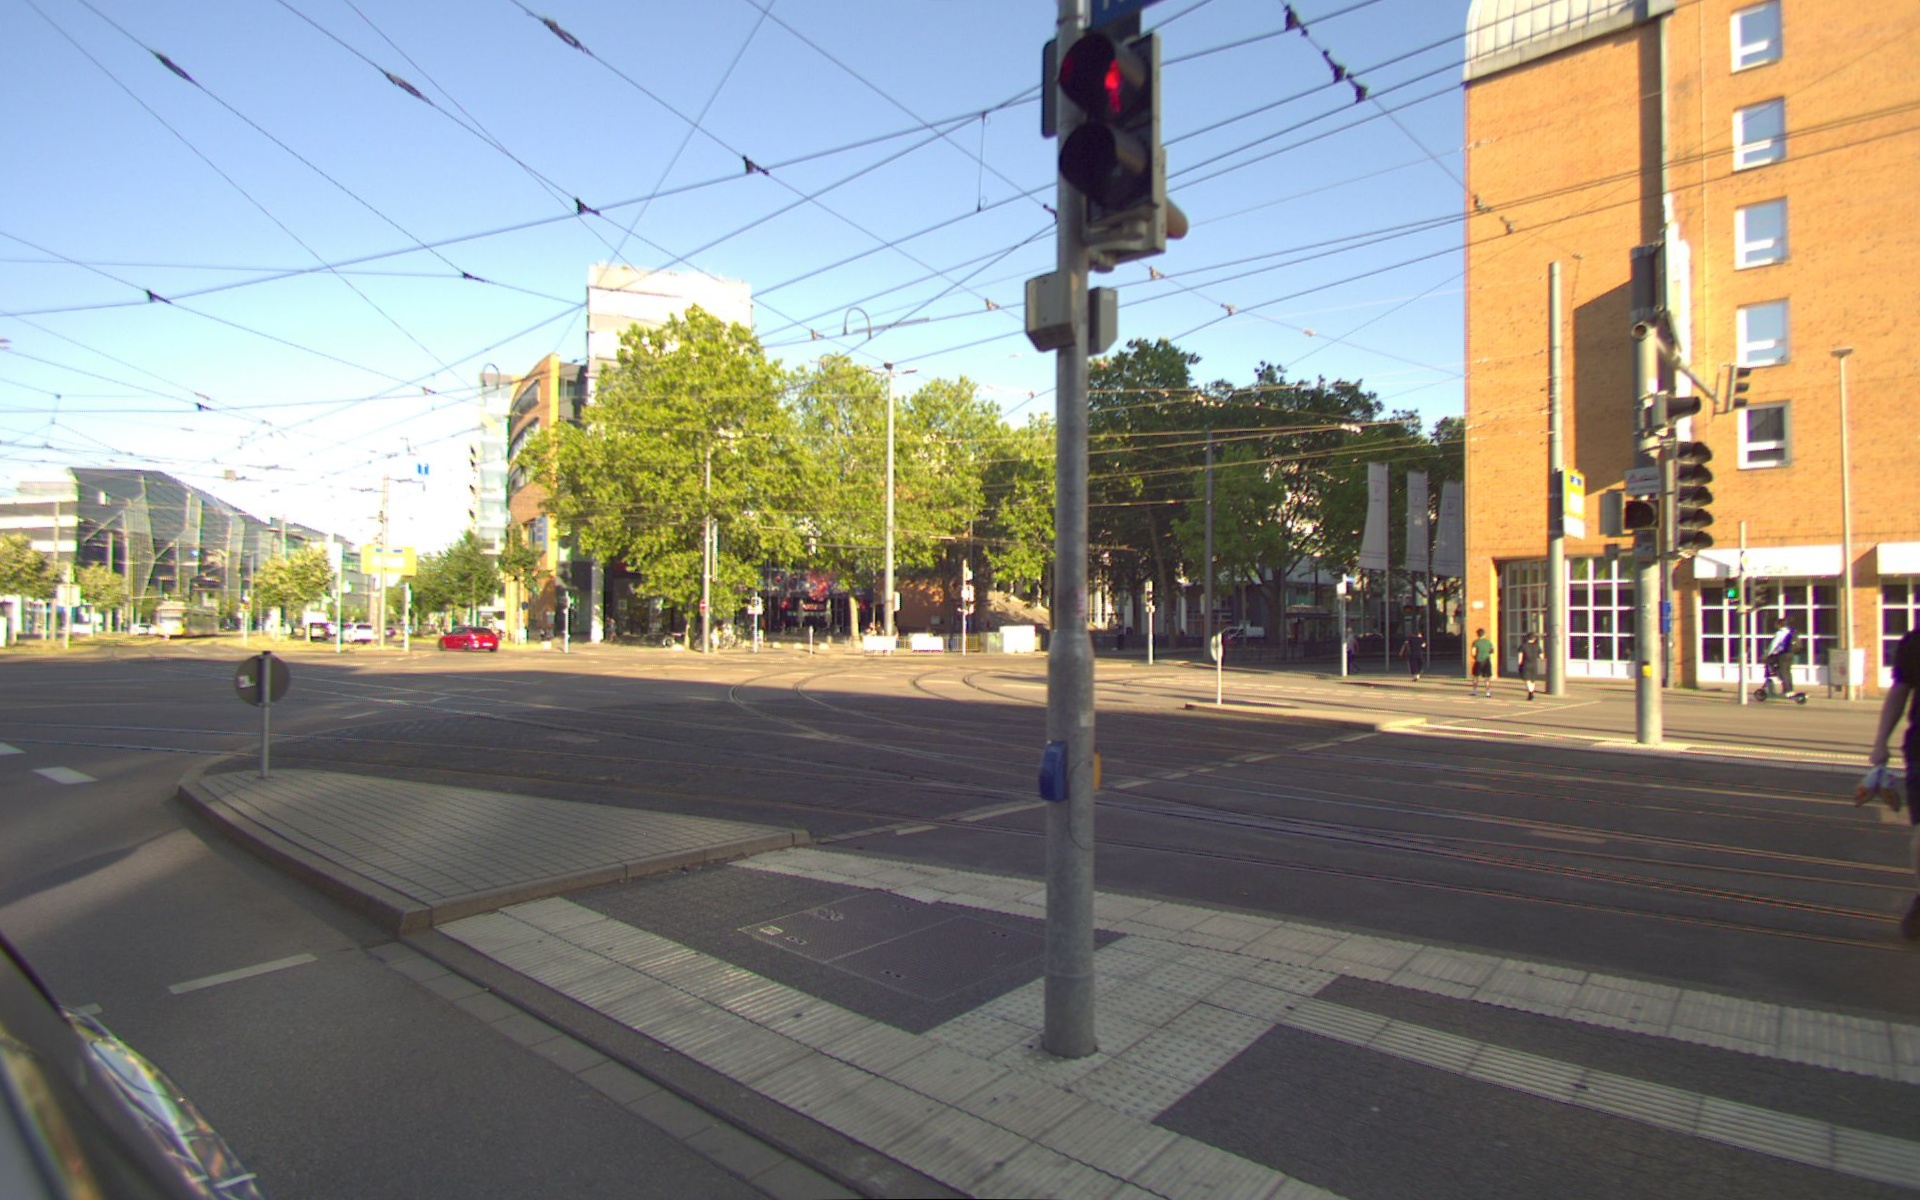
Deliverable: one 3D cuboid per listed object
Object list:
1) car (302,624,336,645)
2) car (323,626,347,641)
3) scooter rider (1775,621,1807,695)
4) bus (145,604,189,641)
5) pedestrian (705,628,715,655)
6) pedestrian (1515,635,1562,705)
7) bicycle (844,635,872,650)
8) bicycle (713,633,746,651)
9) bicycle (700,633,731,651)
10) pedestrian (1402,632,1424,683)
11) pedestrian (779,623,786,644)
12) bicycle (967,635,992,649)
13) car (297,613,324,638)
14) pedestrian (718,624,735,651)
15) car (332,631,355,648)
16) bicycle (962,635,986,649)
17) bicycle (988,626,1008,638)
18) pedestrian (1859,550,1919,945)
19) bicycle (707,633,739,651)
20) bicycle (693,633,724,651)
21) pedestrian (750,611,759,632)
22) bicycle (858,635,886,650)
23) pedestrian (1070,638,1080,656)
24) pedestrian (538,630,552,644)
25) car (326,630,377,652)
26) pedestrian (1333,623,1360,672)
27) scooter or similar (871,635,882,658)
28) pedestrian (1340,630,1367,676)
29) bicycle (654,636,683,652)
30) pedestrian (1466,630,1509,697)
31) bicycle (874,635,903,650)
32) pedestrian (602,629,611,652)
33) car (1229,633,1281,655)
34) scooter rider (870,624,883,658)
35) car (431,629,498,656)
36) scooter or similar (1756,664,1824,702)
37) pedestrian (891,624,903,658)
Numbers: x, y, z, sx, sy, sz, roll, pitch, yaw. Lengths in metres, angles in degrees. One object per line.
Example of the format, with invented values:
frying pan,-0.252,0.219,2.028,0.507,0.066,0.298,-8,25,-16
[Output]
car,-55.749,3.013,88.083,1.591,1.615,4.188,4,-5,-21
car,-68.202,3.675,110.482,1.833,1.645,4.277,1,-3,-26
scooter rider,20.089,1.394,24.464,0.570,1.768,0.527,-1,-3,41
bus,-77.152,2.253,98.379,2.685,3.434,9.679,2,-4,-42
pedestrian,-14.582,2.410,59.007,0.477,1.550,0.573,1,-2,-4
pedestrian,14.540,1.740,25.463,0.630,1.731,0.780,1,-2,-20
bicycle,-7.405,3.106,73.729,1.915,1.072,0.785,2,-3,-38
bicycle,-14.449,2.627,63.442,1.815,1.138,0.776,2,-3,-43
bicycle,-15.605,2.685,64.629,1.815,1.138,0.776,2,-3,-43
pedestrian,14.186,1.781,31.718,0.542,1.565,0.863,-1,-2,21
pedestrian,-14.554,2.729,83.028,0.535,1.682,0.572,1,-2,-9
bicycle,1.499,3.251,77.679,1.915,1.072,0.579,2,-3,-38
car,-69.634,2.758,108.613,1.965,2.499,5.993,1,-3,-28
pedestrian,-15.293,2.445,66.218,0.878,1.778,0.733,2,-4,-27
car,-76.226,4.880,125.128,1.584,2.029,3.898,1,-2,-18
bicycle,1.092,3.284,78.364,1.915,1.072,0.579,2,-3,-38
bicycle,3.377,2.842,89.620,0.695,1.075,1.989,-1,-2,37
pedestrian,4.527,0.640,4.367,0.613,1.715,0.752,1,-2,-24
bicycle,-15.014,2.656,64.033,1.815,1.138,0.776,2,-3,-43
bicycle,-16.203,2.715,65.250,1.815,1.138,0.776,2,-3,-43
pedestrian,-16.674,1.741,82.157,0.561,1.682,0.545,1,-2,-24
bicycle,-6.316,3.066,72.935,1.915,1.072,0.785,2,-3,-38
pedestrian,6.673,2.737,58.641,0.406,1.040,0.373,-1,-3,44
pedestrian,-32.583,2.907,79.526,0.681,1.089,0.767,-1,-3,40
car,-42.523,2.877,70.700,3.993,1.463,1.616,-2,-3,37
pedestrian,15.279,1.880,39.994,0.733,1.910,0.649,1,-2,-12
scooter or similar,-4.507,2.505,54.662,0.448,1.188,1.162,1,-2,-10
pedestrian,15.250,2.052,39.248,0.693,1.756,0.650,1,-3,-17
bicycle,-18.716,2.820,64.995,1.672,1.044,0.550,2,-3,-39
pedestrian,13.848,1.652,26.578,0.630,1.731,0.780,1,-2,-20
bicycle,-5.037,3.002,71.621,1.915,1.072,0.785,2,-3,-38
pedestrian,-26.602,3.050,76.197,0.585,1.669,0.595,1,-2,-21
car,26.909,4.042,92.370,4.883,1.961,1.977,2,-3,-36
scooter rider,-4.532,2.214,54.713,0.579,1.847,0.765,1,-2,-12
car,-27.772,2.364,56.668,3.990,1.439,1.672,-2,-3,35
scooter or similar,20.060,1.995,24.461,1.238,0.837,0.537,-1,-3,41
pedestrian,-3.446,2.238,55.457,0.663,1.810,0.570,1,-2,-3
